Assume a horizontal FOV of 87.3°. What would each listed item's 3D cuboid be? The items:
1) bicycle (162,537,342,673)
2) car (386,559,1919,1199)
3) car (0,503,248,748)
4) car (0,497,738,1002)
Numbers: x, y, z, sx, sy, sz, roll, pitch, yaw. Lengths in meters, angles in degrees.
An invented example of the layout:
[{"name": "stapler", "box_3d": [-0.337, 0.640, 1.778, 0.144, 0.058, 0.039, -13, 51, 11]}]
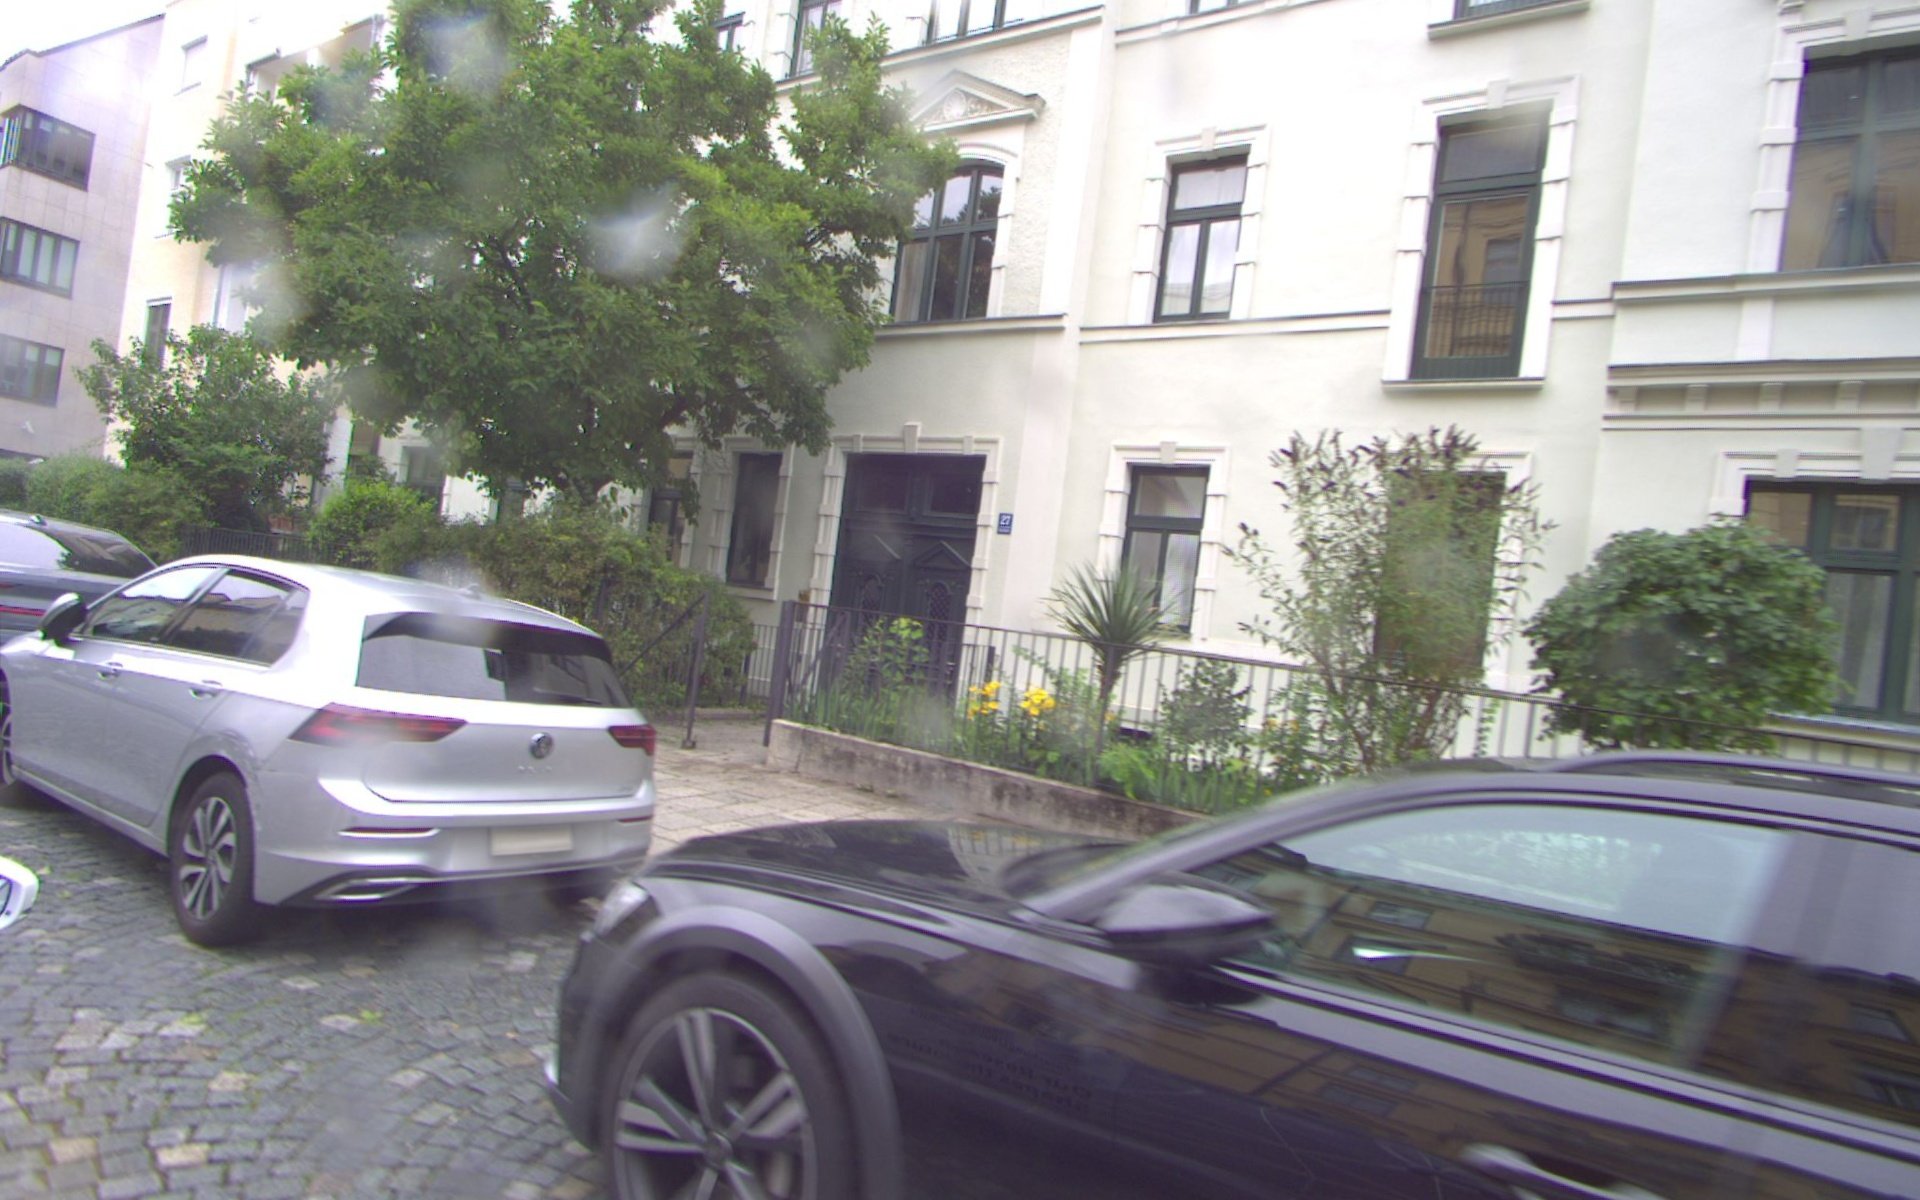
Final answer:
[{"name": "bicycle", "box_3d": [-7.540, 0.056, 10.717, 1.617, 1.209, 0.582, 7, -1, 18]}, {"name": "car", "box_3d": [1.193, 1.022, 2.127, 5.022, 1.518, 1.910, 7, -4, 33]}, {"name": "car", "box_3d": [-7.823, -0.028, 7.865, 4.735, 1.504, 1.888, 7, -4, 33]}, {"name": "car", "box_3d": [-3.451, 0.458, 5.160, 4.407, 1.475, 1.760, 7, -4, 33]}]
